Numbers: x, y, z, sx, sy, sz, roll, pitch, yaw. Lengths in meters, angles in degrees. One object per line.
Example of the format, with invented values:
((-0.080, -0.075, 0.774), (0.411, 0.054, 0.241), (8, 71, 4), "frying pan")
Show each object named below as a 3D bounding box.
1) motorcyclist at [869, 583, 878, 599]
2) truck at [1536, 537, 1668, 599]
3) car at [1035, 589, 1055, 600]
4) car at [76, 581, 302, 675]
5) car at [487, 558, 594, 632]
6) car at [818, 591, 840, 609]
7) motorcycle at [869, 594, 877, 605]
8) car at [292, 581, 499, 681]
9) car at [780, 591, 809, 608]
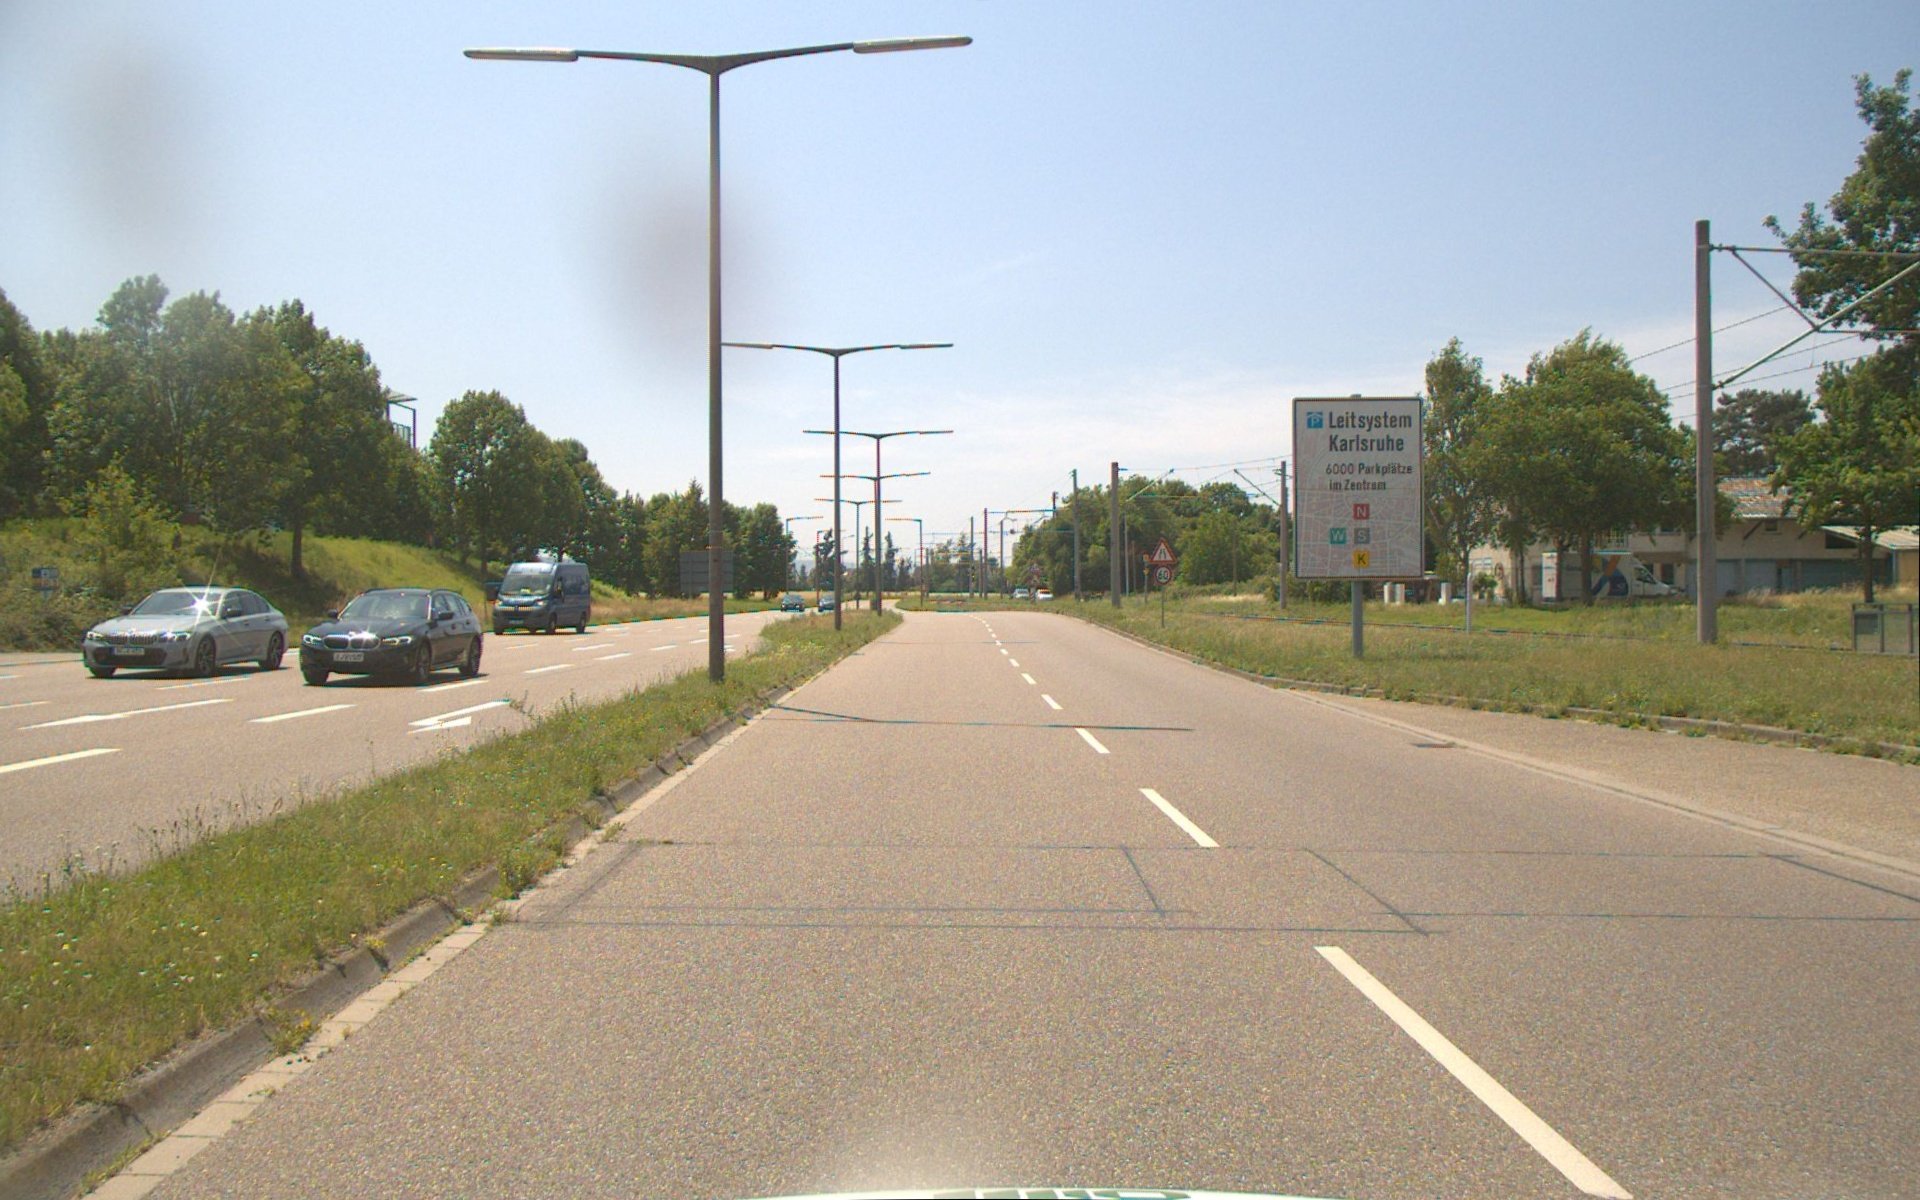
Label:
((-13.197, -1.330, 252.415), (1.205, 2.392, 1.107), (1, -1, 2), "motorcyclist")
((32.166, -1.568, 82.880), (5.733, 2.893, 2.315), (-2, 0, -9), "truck")
((8.996, -0.565, 175.483), (1.533, 1.200, 3.074), (-1, 0, -8), "car")
((-13.105, 0.429, 28.473), (1.794, 1.474, 4.849), (0, 0, -2), "car")
((-14.601, -0.197, 57.944), (2.128, 2.454, 5.673), (0, 0, 2), "car")
((-11.138, 0.015, 140.539), (1.658, 1.518, 3.998), (0, 0, -2), "car")
((-13.230, -0.048, 252.080), (0.969, 1.608, 3.401), (1, -1, 2), "motorcycle")
((-9.012, 0.449, 26.823), (1.695, 1.483, 4.565), (0, 0, 1), "car")
((-14.011, -0.082, 140.050), (1.953, 1.383, 4.666), (-1, 0, 0), "car")
